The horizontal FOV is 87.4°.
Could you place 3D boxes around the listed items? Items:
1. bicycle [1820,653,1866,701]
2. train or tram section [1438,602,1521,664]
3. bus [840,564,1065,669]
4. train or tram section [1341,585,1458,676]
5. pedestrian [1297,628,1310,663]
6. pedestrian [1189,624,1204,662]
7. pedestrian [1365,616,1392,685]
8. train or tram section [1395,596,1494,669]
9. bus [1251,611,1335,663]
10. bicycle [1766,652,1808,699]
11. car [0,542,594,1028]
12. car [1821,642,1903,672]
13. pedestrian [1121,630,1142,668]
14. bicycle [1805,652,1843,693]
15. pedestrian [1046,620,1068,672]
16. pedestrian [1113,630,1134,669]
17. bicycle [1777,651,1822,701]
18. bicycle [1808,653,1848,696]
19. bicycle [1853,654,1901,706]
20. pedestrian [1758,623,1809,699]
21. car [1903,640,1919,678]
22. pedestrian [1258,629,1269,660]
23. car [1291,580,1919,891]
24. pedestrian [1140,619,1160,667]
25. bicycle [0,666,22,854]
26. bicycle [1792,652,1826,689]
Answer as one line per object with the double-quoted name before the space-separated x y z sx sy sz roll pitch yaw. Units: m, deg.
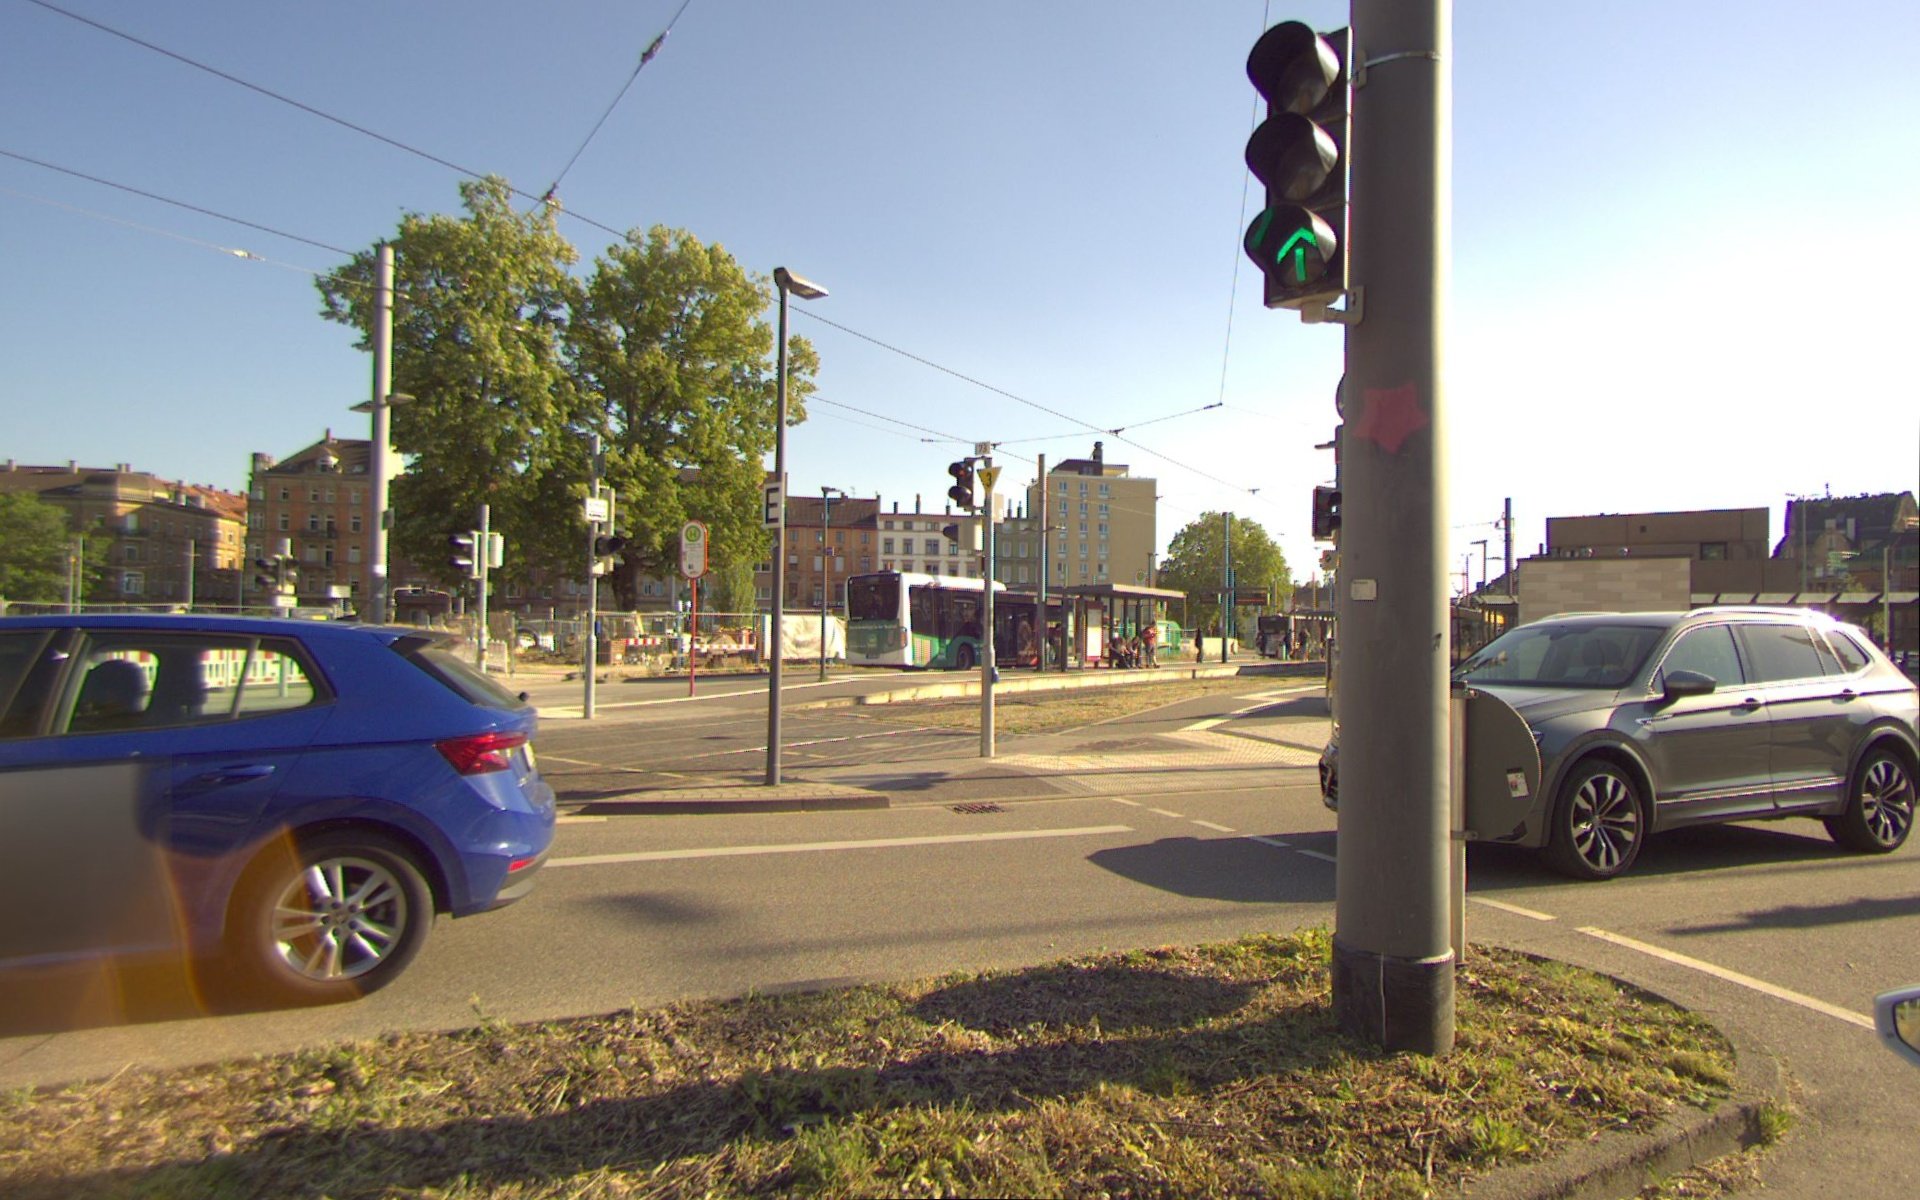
"bicycle" 22.564 1.947 25.690 0.598 1.129 1.892 2 -1 33
"train or tram section" 34.561 2.203 66.473 3.000 3.644 12.009 2 -1 36
"bus" 0.098 0.623 34.912 2.619 3.177 9.612 2 -1 35
"train or tram section" 20.646 1.420 46.644 2.841 3.644 12.166 2 -1 33
"pedestrian" 17.647 2.323 51.671 0.627 1.772 0.572 0 -2 19
"pedestrian" 11.188 2.018 47.425 0.627 1.772 0.572 0 -2 19
"pedestrian" 11.051 1.327 26.533 0.628 1.772 0.571 0 -2 27
"train or tram section" 27.532 1.817 56.679 2.972 3.644 12.160 2 -1 35
"bus" 23.776 2.586 71.057 2.681 3.317 13.437 2 -1 31
"bicycle" 21.548 1.947 26.200 0.598 1.129 1.892 2 -1 33
"car" -3.581 0.659 4.097 3.866 1.594 1.734 2 -5 -21
"car" 50.058 3.134 55.842 1.611 1.581 3.603 0 -2 7
"pedestrian" 6.167 1.767 36.175 0.562 1.363 0.639 0 -2 29
"bicycle" 25.994 2.160 30.236 0.598 1.129 1.892 2 -1 33
"pedestrian" 3.324 1.564 34.499 0.531 1.772 0.557 -1 -2 40
"pedestrian" 5.791 1.756 35.585 0.606 1.358 0.440 0 -2 29
"bicycle" 20.491 1.827 24.531 0.598 1.129 1.892 2 -1 33
"bicycle" 24.768 2.117 28.683 0.598 1.129 1.892 2 -1 33
"bicycle" 21.644 1.861 23.745 0.599 1.129 1.890 2 -1 36
"pedestrian" 21.104 1.546 25.757 0.888 1.893 0.685 2 0 34
"car" 49.652 2.889 49.049 2.202 1.919 5.170 0 -3 -2
"pedestrian" 17.534 2.565 58.028 0.561 1.772 0.639 0 -2 27
"car" 4.791 0.845 7.248 4.462 1.728 1.759 1 -3 -21
"pedestrian" 7.155 1.606 37.842 0.562 1.772 0.639 0 -2 29
"bicycle" -7.083 1.000 5.907 2.152 1.196 0.673 1 -2 -23
"bicycle" 28.007 2.313 33.169 0.598 1.129 1.892 2 -1 33
